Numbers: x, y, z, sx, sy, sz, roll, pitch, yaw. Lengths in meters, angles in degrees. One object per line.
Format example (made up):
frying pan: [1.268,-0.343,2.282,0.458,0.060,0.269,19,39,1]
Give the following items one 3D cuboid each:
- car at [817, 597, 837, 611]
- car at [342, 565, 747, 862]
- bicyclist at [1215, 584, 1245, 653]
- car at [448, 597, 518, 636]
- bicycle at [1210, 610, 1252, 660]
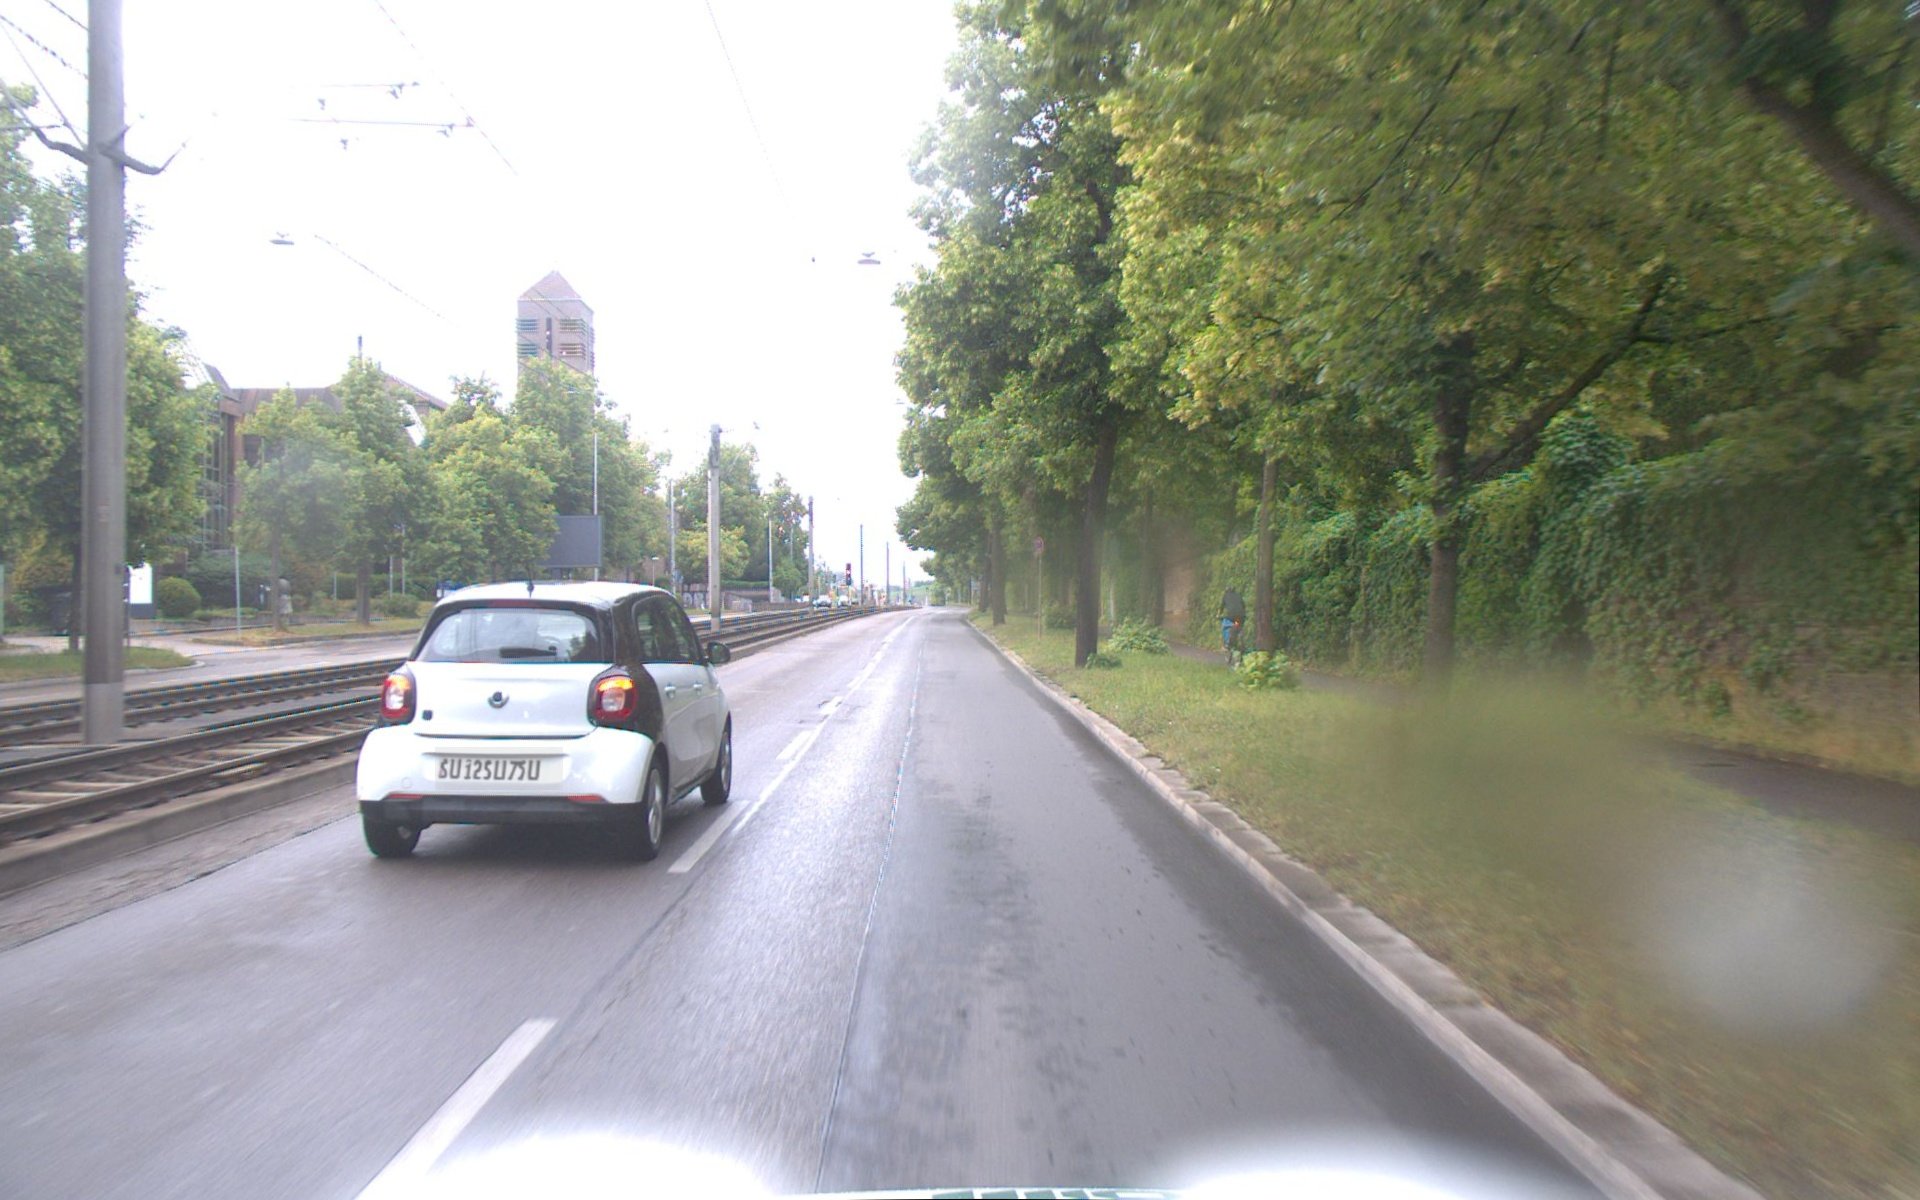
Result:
car: [-17.472,0.515,217.557,1.971,1.685,4.618,-1,0,3]
car: [-2.450,0.593,10.650,1.641,1.557,3.721,-1,0,0]
bicyclist: [5.571,0.381,34.141,0.524,1.414,0.666,-1,0,2]
car: [-19.896,0.653,69.134,1.758,1.557,4.620,-1,0,-2]
bicycle: [5.566,0.702,34.097,0.531,0.964,2.550,-1,0,2]
